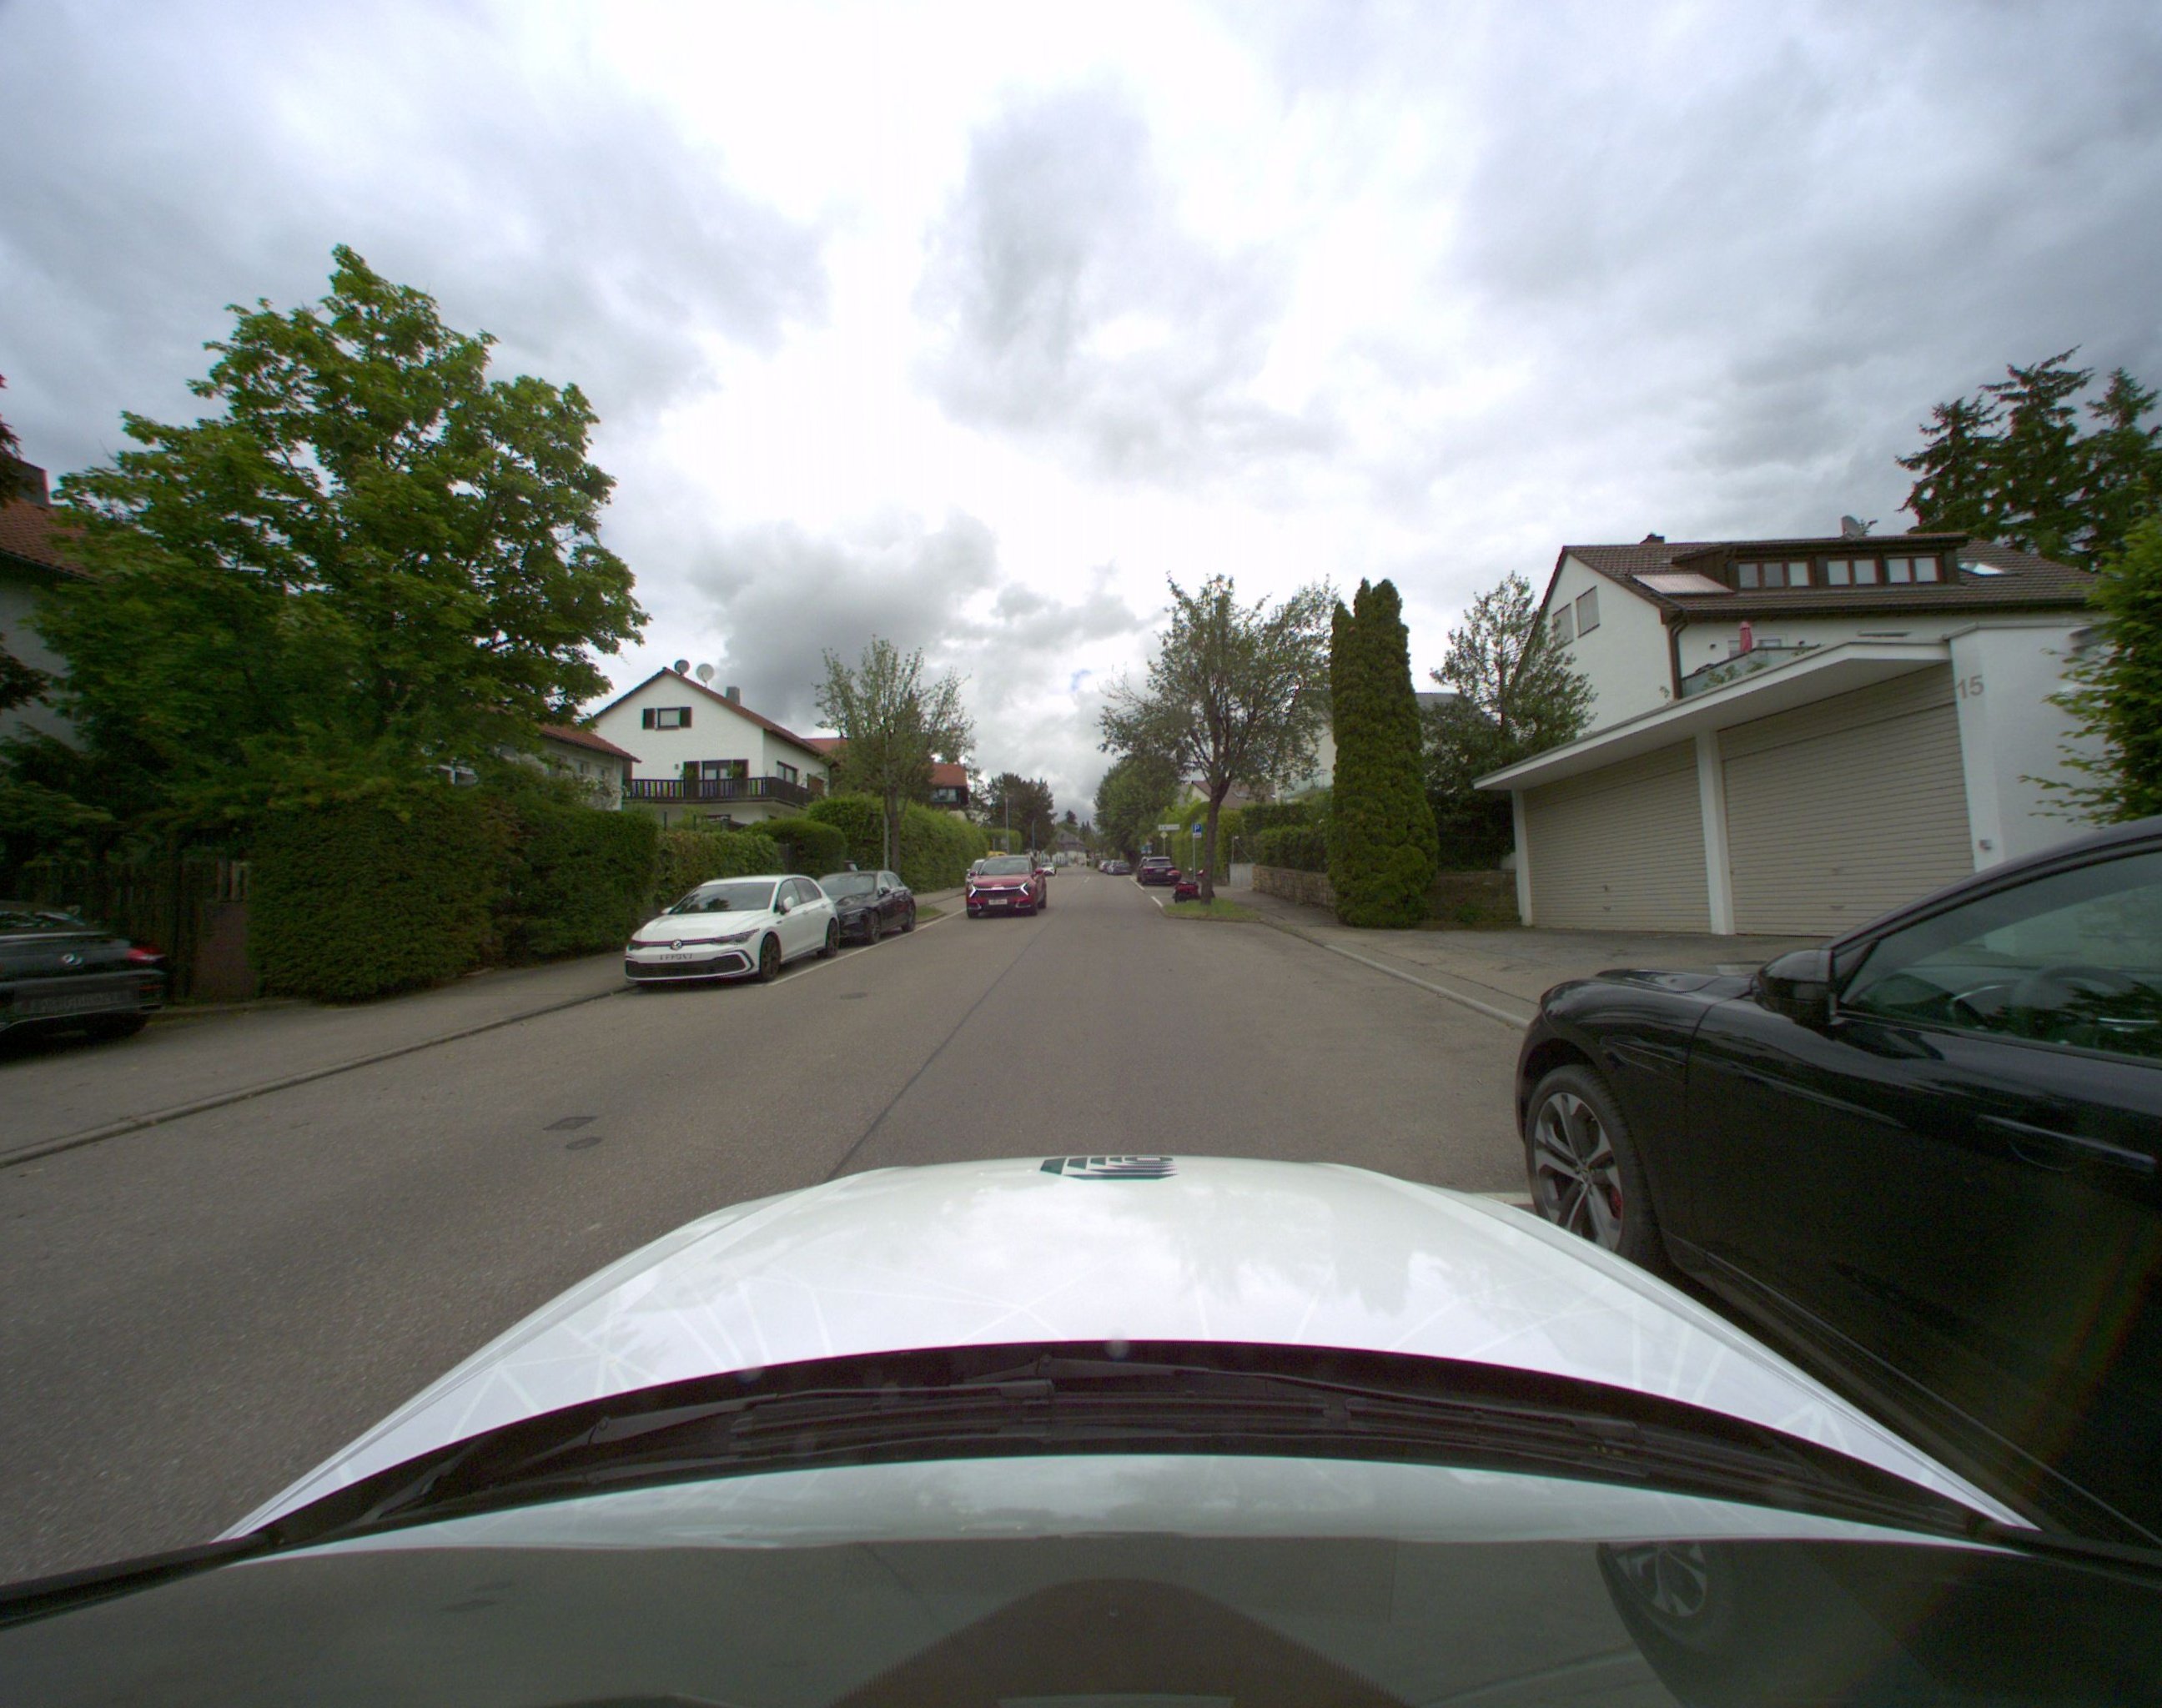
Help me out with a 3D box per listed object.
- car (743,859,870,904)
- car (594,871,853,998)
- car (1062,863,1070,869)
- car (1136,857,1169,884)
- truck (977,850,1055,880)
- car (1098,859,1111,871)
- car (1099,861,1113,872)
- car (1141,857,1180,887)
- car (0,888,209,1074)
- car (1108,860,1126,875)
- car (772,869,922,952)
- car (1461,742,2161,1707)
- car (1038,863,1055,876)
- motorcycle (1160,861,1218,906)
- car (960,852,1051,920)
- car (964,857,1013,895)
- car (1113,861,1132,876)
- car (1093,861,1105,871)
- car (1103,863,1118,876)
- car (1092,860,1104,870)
[{"bbox_3d":[-9.915,0.976,29.578,3.967,1.533,1.790,1,0,5],"label":"car"},{"bbox_3d":[-5.048,1.043,12.307,1.831,1.422,4.409,-3,0,1],"label":"car"},{"bbox_3d":[-3.782,2.952,207.494,1.818,1.420,3.996,-1,0,-2],"label":"car"},{"bbox_3d":[4.303,0.953,49.506,1.875,1.533,4.478,0,0,3],"label":"car"},{"bbox_3d":[-5.335,0.930,66.624,5.944,2.309,2.809,0,-4,-16],"label":"truck"},{"bbox_3d":[3.418,1.536,118.510,1.661,1.668,3.464,-1,0,-2],"label":"car"},{"bbox_3d":[3.370,1.718,111.607,1.661,1.501,3.464,-1,0,-2],"label":"car"},{"bbox_3d":[4.201,0.940,43.783,1.875,1.533,4.478,0,0,3],"label":"car"},{"bbox_3d":[-10.505,1.082,7.415,3.958,1.445,1.786,-1,-1,14],"label":"car"},{"bbox_3d":[4.044,1.480,91.562,1.709,1.657,3.619,-1,0,-2],"label":"car"},{"bbox_3d":[-4.676,1.064,16.905,1.720,1.423,4.081,-3,-1,2],"label":"car"},{"bbox_3d":[2.597,0.656,1.438,1.985,1.618,4.517,1,-1,3],"label":"car"},{"bbox_3d":[-3.919,1.702,92.691,1.663,1.399,3.458,-1,0,-7],"label":"car"},{"bbox_3d":[3.448,0.926,25.874,1.876,1.346,0.593,-1,-1,-34],"label":"motorcycle"},{"bbox_3d":[-2.028,0.844,23.134,1.934,1.647,4.259,-3,0,2],"label":"car"},{"bbox_3d":[-4.127,0.964,36.852,1.717,1.540,3.999,-3,0,-1],"label":"car"},{"bbox_3d":[4.434,1.490,86.812,1.661,1.501,3.464,-1,0,-2],"label":"car"},{"bbox_3d":[2.833,1.904,126.220,1.661,1.501,3.464,-1,0,-2],"label":"car"},{"bbox_3d":[3.660,1.905,100.970,1.661,1.501,3.464,-1,0,-2],"label":"car"},{"bbox_3d":[2.779,1.822,133.799,1.639,1.668,3.464,-1,0,-2],"label":"car"}]
